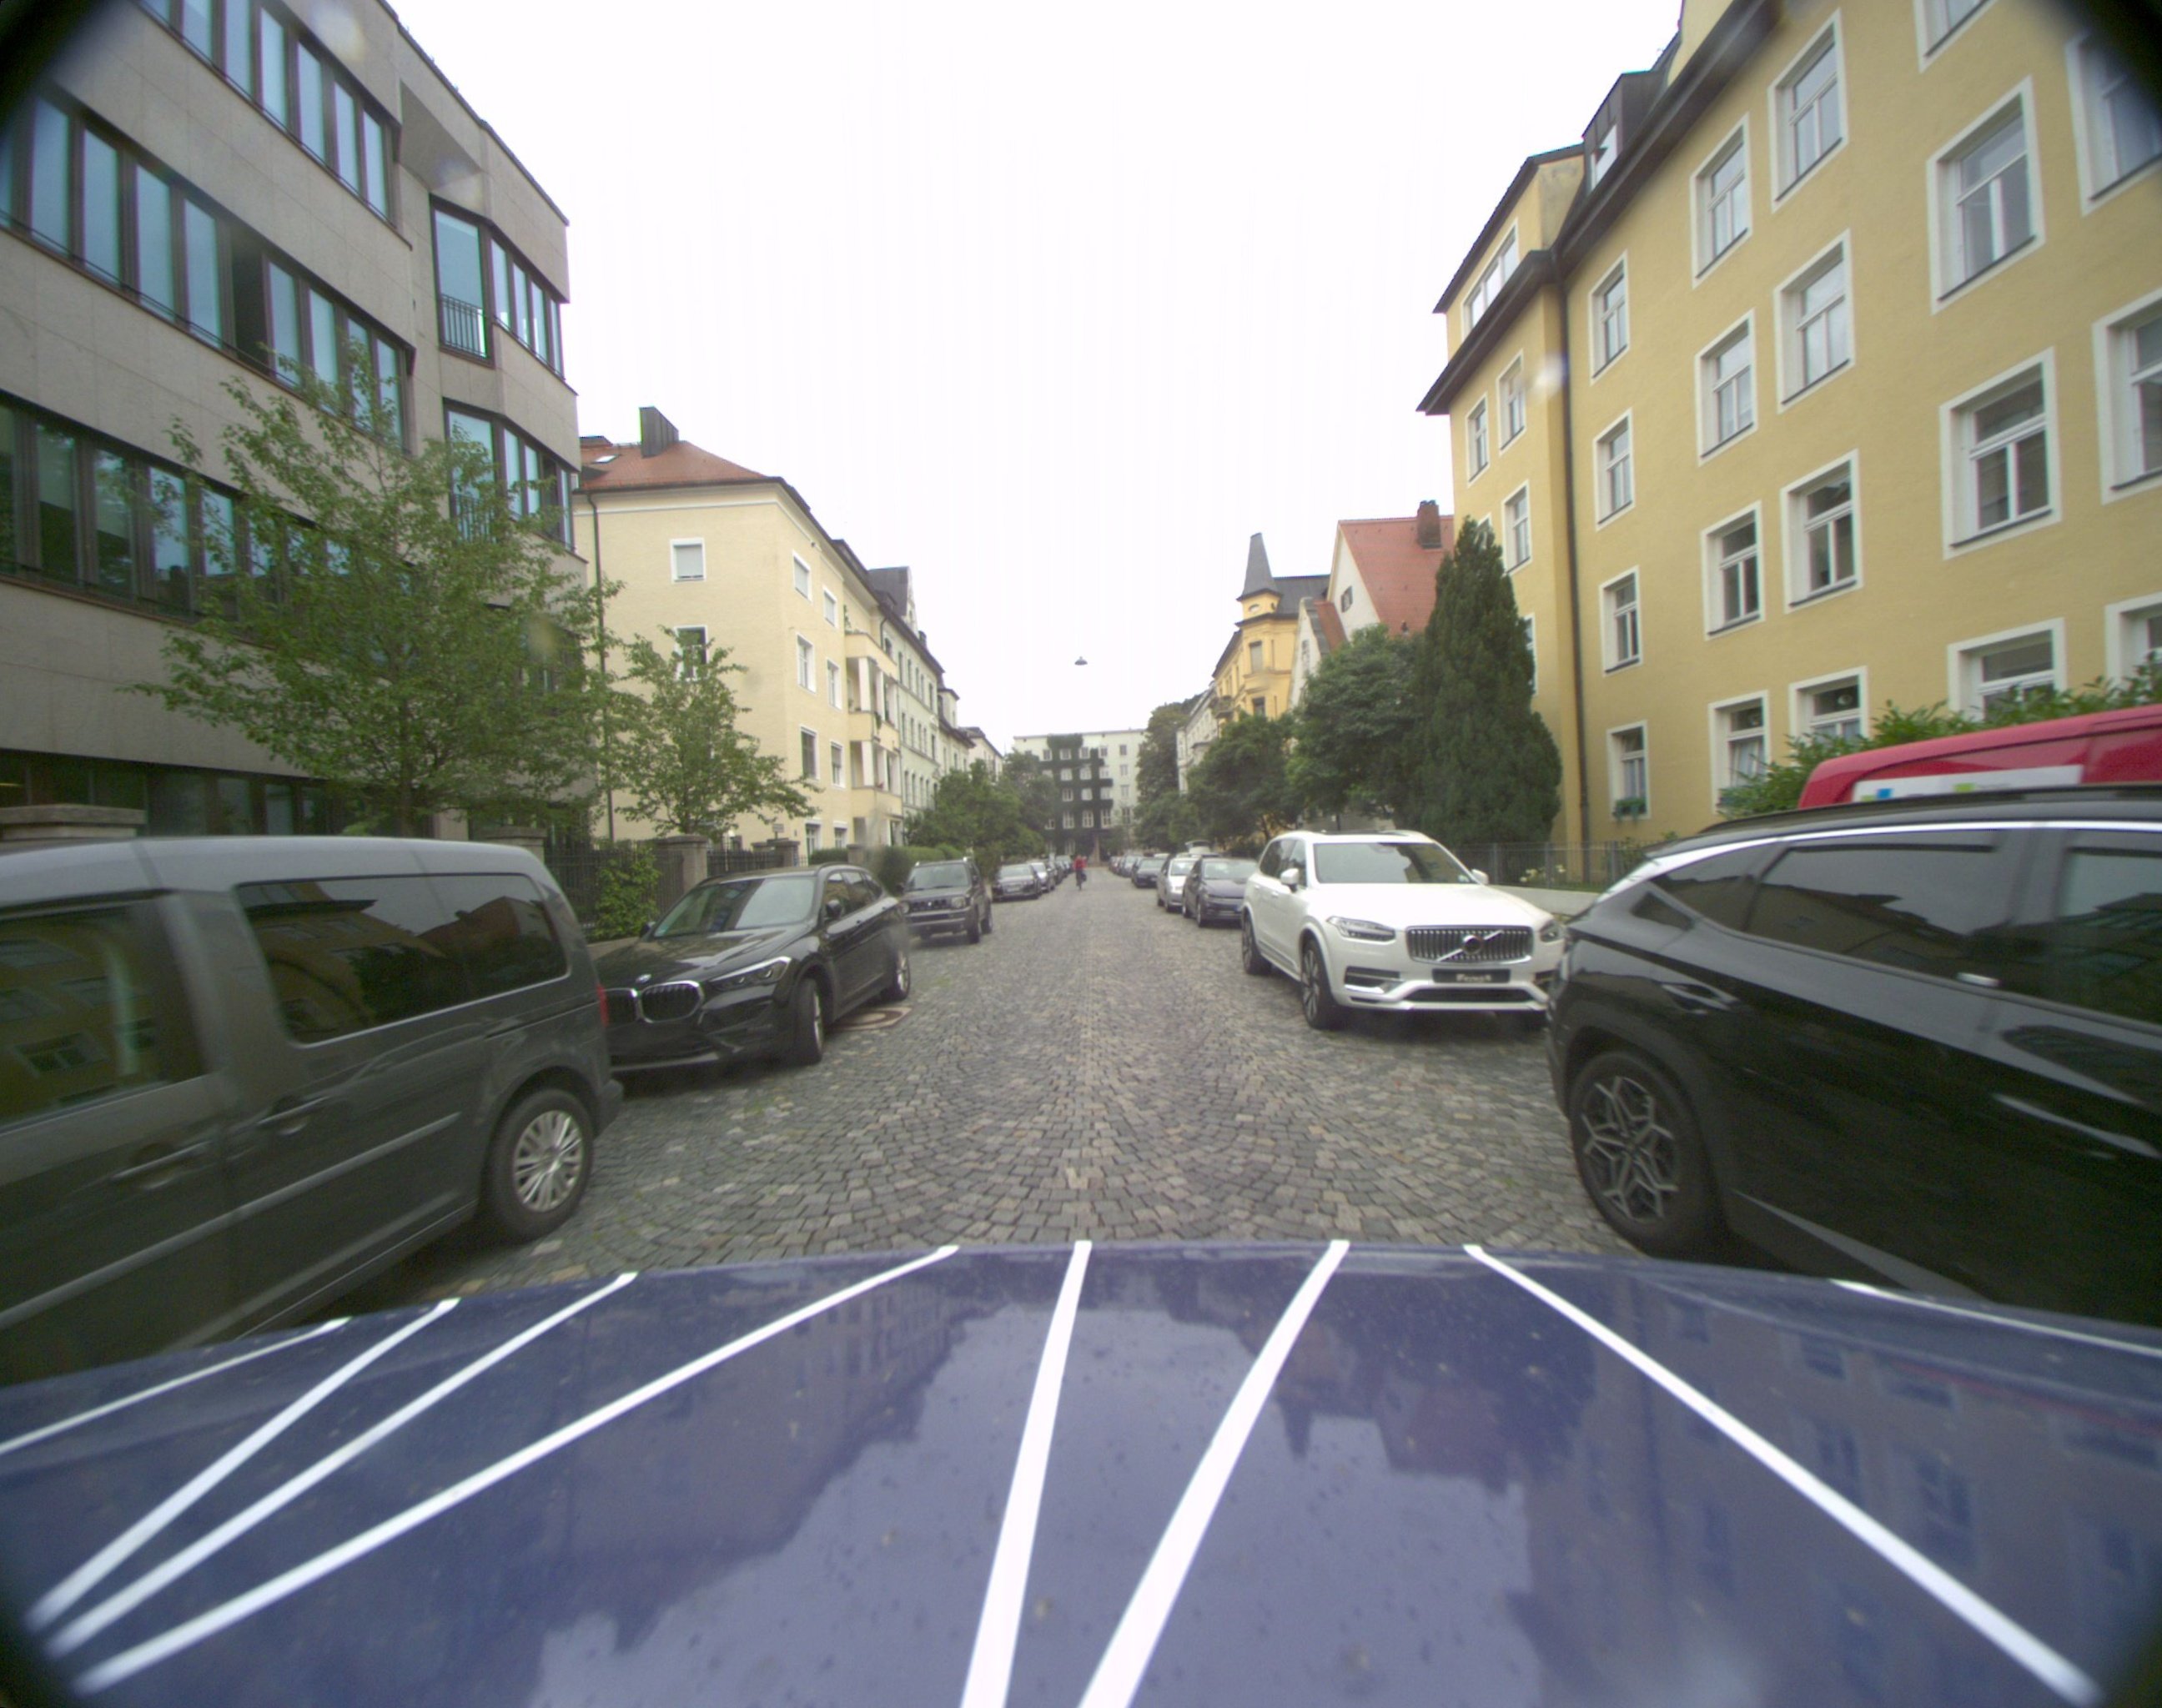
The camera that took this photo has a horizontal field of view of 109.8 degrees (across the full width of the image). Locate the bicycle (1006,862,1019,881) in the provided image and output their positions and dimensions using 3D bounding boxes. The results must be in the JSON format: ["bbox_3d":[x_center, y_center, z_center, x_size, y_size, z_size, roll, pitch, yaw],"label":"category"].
[{"bbox_3d":[-4.600,1.178,51.204,0.582,1.188,1.646,-4,0,-13],"label":"bicycle"}]

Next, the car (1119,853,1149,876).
[{"bbox_3d":[3.790,0.718,55.112,1.744,1.576,4.191,-2,0,-2],"label":"car"}]

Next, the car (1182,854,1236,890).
[{"bbox_3d":[5.822,0.767,34.974,1.780,1.408,4.561,-4,0,2],"label":"car"}]

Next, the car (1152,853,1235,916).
[{"bbox_3d":[3.043,0.777,21.349,1.718,1.553,4.390,-1,0,1],"label":"car"}]

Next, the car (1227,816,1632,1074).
[{"bbox_3d":[2.967,0.644,7.976,2.011,1.798,5.175,-1,0,2],"label":"car"}]

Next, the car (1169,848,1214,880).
[{"bbox_3d":[6.050,0.527,42.127,1.744,1.527,4.467,-4,0,1],"label":"car"}]

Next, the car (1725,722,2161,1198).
[{"bbox_3d":[5.308,0.362,2.354,1.999,1.920,5.330,-4,0,0],"label":"car"}]

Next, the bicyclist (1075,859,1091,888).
[{"bbox_3d":[0.097,0.922,36.078,0.648,1.350,0.656,-4,1,1],"label":"bicyclist"}]

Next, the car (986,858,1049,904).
[{"bbox_3d":[-2.547,1.059,31.929,1.998,1.543,5.014,-5,0,1],"label":"car"}]

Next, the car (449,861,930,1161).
[{"bbox_3d":[-2.990,1.033,7.276,1.865,1.692,4.813,-6,0,1],"label":"car"}]

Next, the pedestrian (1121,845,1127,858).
[{"bbox_3d":[6.910,-0.393,121.033,0.665,1.905,0.863,-5,1,9],"label":"pedestrian"}]

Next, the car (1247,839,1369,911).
[{"bbox_3d":[5.669,0.468,19.612,1.719,1.489,4.721,-5,0,1],"label":"car"}]

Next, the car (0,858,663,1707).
[{"bbox_3d":[-3.251,1.014,1.839,1.793,1.786,4.509,-7,0,0],"label":"car"}]

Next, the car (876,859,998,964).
[{"bbox_3d":[-2.835,1.052,15.772,1.622,1.740,3.887,-6,0,0],"label":"car"}]

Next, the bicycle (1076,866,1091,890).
[{"bbox_3d":[0.112,1.119,36.183,0.636,1.021,1.955,-4,0,1],"label":"bicycle"}]

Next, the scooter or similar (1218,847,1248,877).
[{"bbox_3d":[8.075,0.421,40.525,1.064,1.514,2.635,-3,0,1],"label":"scooter or similar"}]

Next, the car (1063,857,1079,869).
[{"bbox_3d":[-1.166,1.045,89.399,1.744,1.367,4.182,-2,0,1],"label":"car"}]

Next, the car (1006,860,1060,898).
[{"bbox_3d":[-2.268,1.145,37.145,1.998,1.543,4.986,-5,0,2],"label":"car"}]

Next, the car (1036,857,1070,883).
[{"bbox_3d":[-1.895,1.054,52.625,1.887,1.480,4.814,-6,0,2],"label":"car"}]

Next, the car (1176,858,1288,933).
[{"bbox_3d":[3.170,0.810,16.720,1.734,1.410,3.936,-1,0,1],"label":"car"}]

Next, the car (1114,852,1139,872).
[{"bbox_3d":[3.986,0.680,67.189,1.846,1.576,4.192,-2,0,0],"label":"car"}]

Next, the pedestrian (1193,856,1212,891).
[{"bbox_3d":[5.948,0.941,37.285,0.767,1.640,0.582,-4,1,2],"label":"pedestrian"}]

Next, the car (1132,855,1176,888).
[{"bbox_3d":[3.484,0.804,37.073,1.819,1.447,4.913,-1,0,2],"label":"car"}]

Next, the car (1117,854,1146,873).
[{"bbox_3d":[4.039,0.729,61.403,1.875,1.461,5.133,-2,0,0],"label":"car"}]

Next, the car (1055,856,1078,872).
[{"bbox_3d":[-1.511,1.028,78.672,1.942,1.457,4.533,-5,0,3],"label":"car"}]

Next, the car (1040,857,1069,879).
[{"bbox_3d":[-1.955,1.026,57.674,1.760,1.451,4.480,-6,0,2],"label":"car"}]

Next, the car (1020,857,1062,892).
[{"bbox_3d":[-2.160,1.075,42.085,1.898,1.644,4.294,-4,0,1],"label":"car"}]

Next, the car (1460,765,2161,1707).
[{"bbox_3d":[2.807,0.726,1.413,1.922,1.725,4.756,1,0,2],"label":"car"}]

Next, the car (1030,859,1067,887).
[{"bbox_3d":[-1.958,1.135,47.287,1.823,1.480,5.050,-6,0,2],"label":"car"}]

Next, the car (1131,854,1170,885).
[{"bbox_3d":[3.802,0.818,42.150,1.744,1.594,4.537,-2,0,0],"label":"car"}]

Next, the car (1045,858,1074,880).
[{"bbox_3d":[-1.742,1.233,63.357,1.909,1.494,5.105,-6,0,2],"label":"car"}]

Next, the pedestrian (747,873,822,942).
[{"bbox_3d":[-6.732,1.188,17.329,1.219,1.484,1.129,-1,0,3],"label":"pedestrian"}]

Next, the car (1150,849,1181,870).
[{"bbox_3d":[6.471,0.381,58.616,1.846,1.457,4.389,-4,0,1],"label":"car"}]
